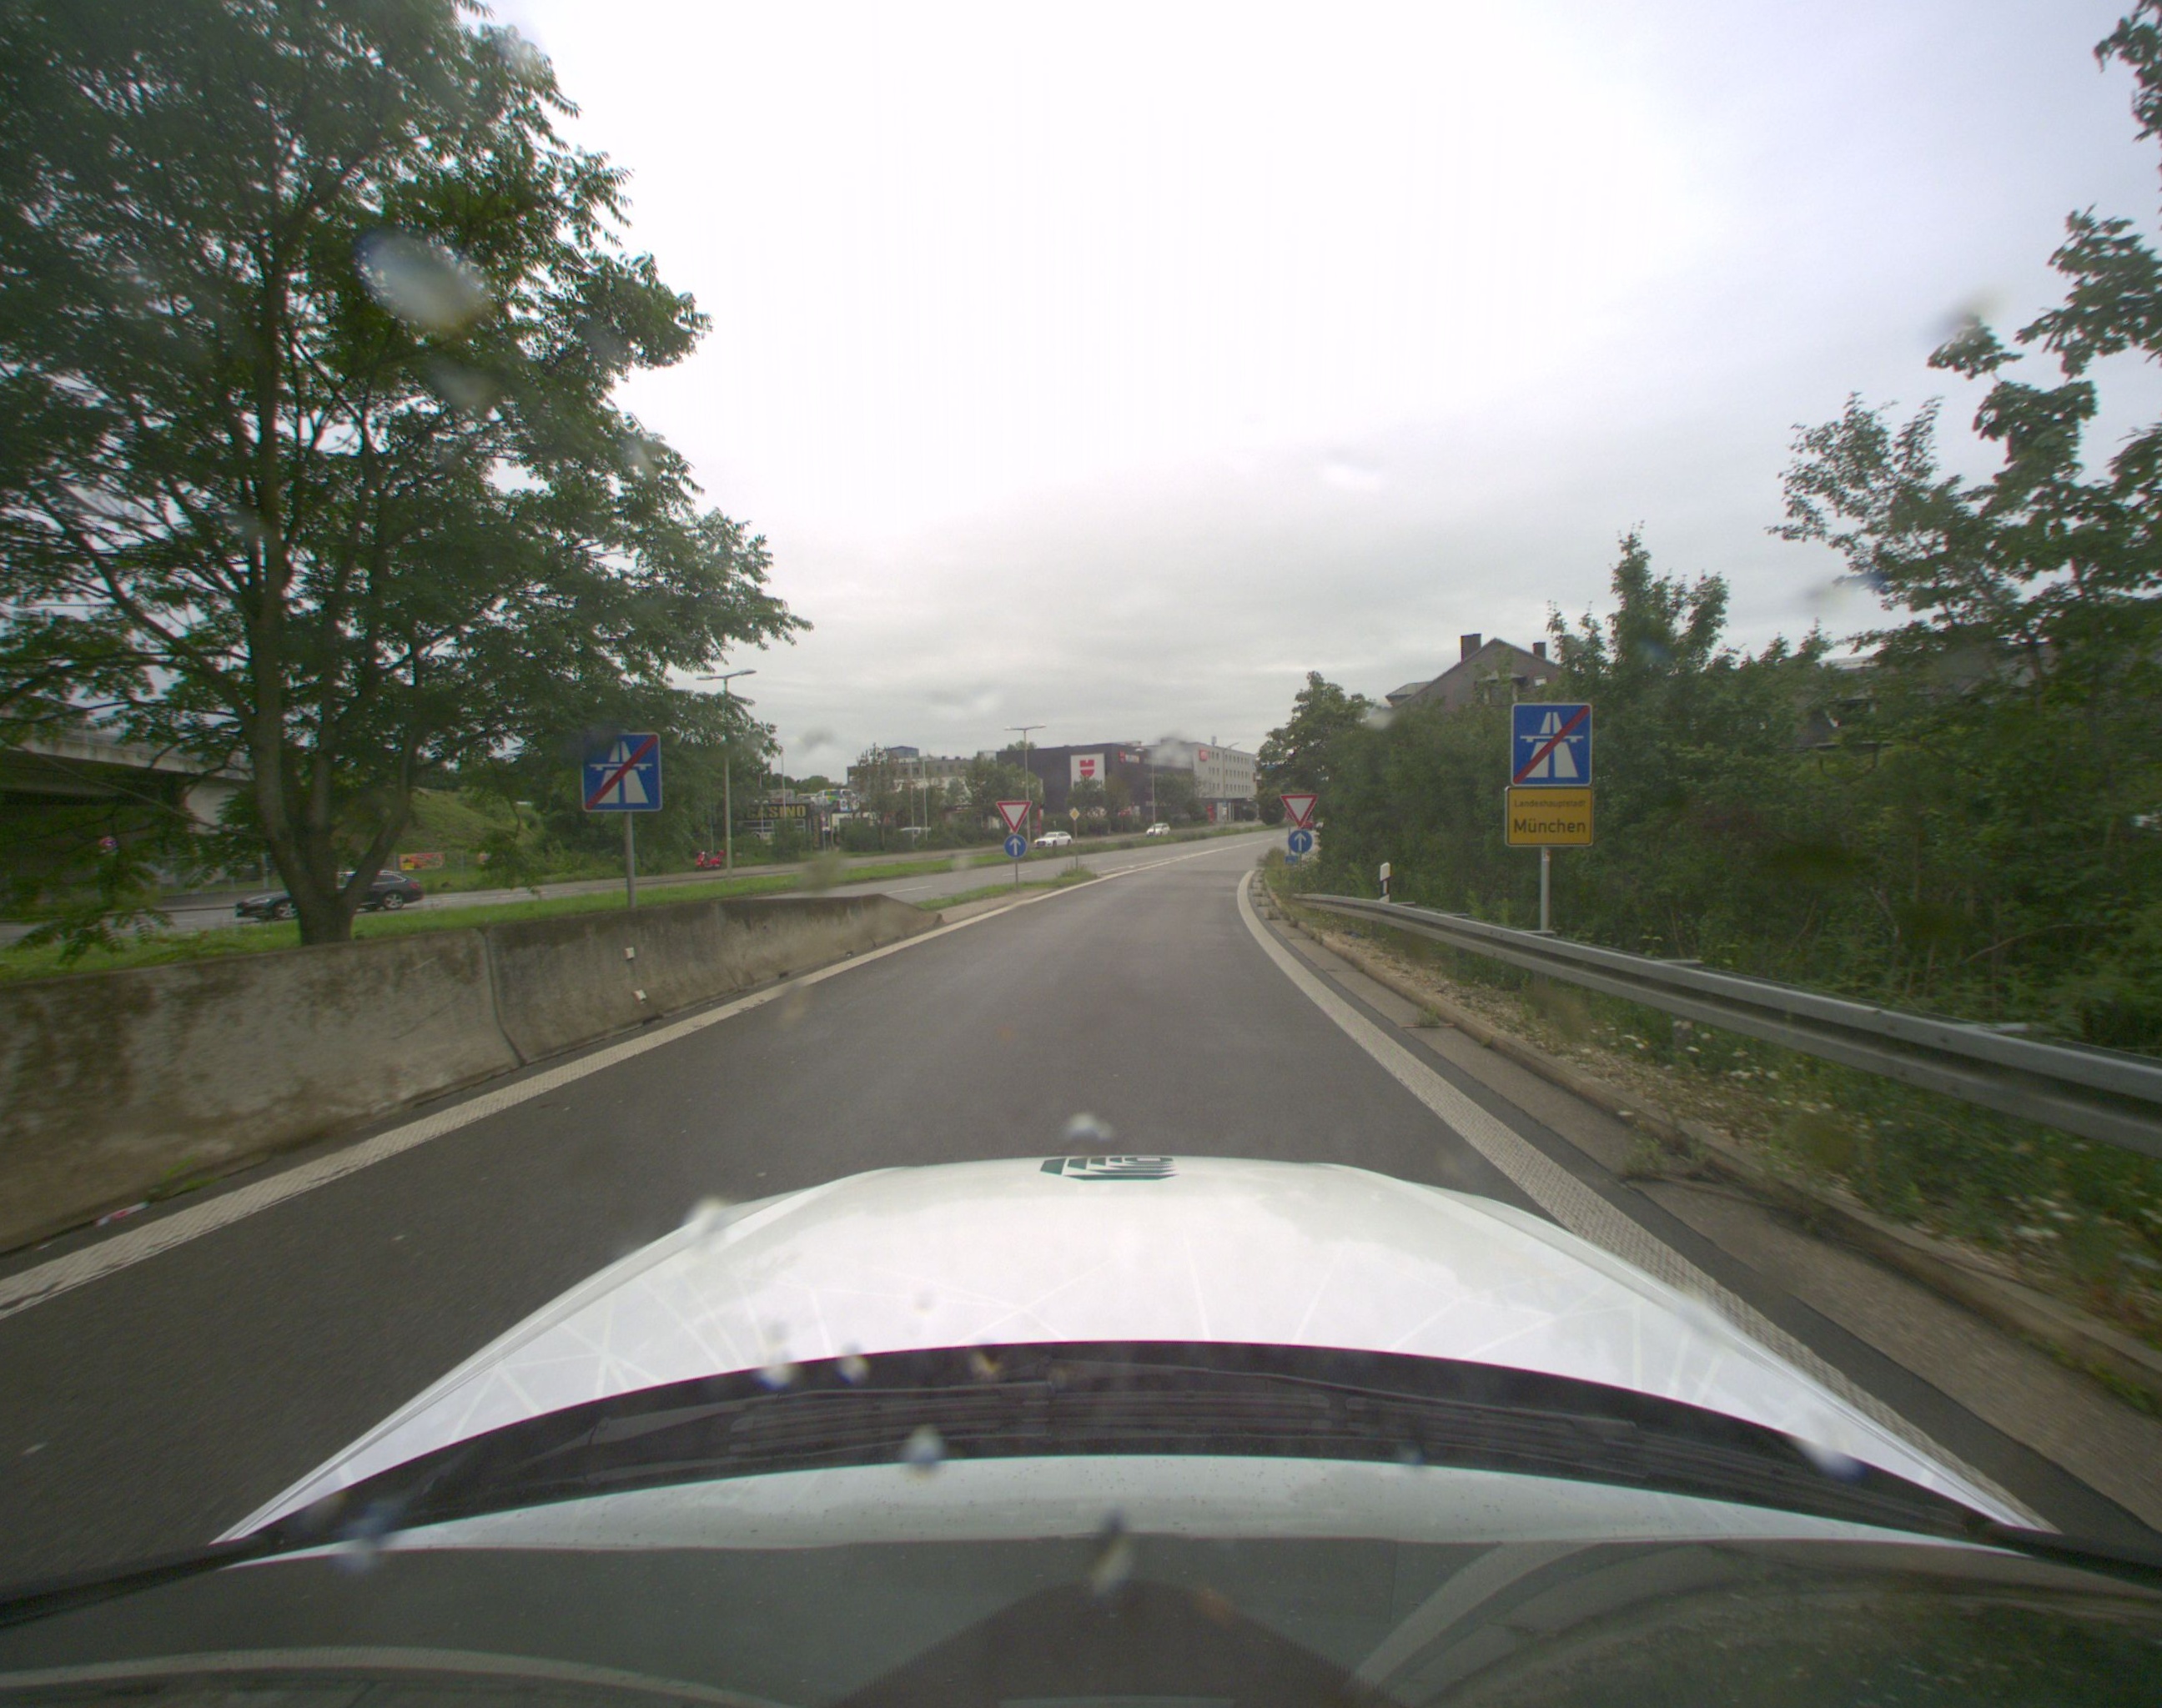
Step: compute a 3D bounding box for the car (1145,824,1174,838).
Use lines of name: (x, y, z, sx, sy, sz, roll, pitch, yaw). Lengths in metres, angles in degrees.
car: (9.623, -2.811, 99.951, 1.975, 1.571, 4.602, -2, 2, 26)

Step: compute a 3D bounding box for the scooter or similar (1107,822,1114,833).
scooter or similar: (3.705, -3.338, 102.304, 0.441, 1.227, 1.395, -1, 3, 24)

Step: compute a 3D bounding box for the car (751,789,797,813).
car: (-35.167, -6.044, 93.302, 4.738, 2.369, 2.148, -3, -1, 26)

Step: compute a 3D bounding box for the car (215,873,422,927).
car: (-26.530, 1.557, 28.562, 1.950, 1.396, 4.846, -2, 1, 27)

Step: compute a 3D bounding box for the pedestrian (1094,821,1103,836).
pedestrian: (2.107, -3.093, 98.189, 0.616, 1.829, 0.822, -1, 3, 26)

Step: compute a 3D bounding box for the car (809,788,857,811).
car: (-26.633, -5.855, 87.446, 4.738, 2.013, 2.148, -3, -1, 26)

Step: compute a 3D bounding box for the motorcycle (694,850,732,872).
motorcycle: (-22.203, 0.397, 49.123, 0.528, 1.176, 2.209, -1, 3, 25)

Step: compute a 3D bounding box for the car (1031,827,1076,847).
car: (-2.480, -1.590, 75.710, 1.975, 1.571, 5.150, -2, 2, 26)
